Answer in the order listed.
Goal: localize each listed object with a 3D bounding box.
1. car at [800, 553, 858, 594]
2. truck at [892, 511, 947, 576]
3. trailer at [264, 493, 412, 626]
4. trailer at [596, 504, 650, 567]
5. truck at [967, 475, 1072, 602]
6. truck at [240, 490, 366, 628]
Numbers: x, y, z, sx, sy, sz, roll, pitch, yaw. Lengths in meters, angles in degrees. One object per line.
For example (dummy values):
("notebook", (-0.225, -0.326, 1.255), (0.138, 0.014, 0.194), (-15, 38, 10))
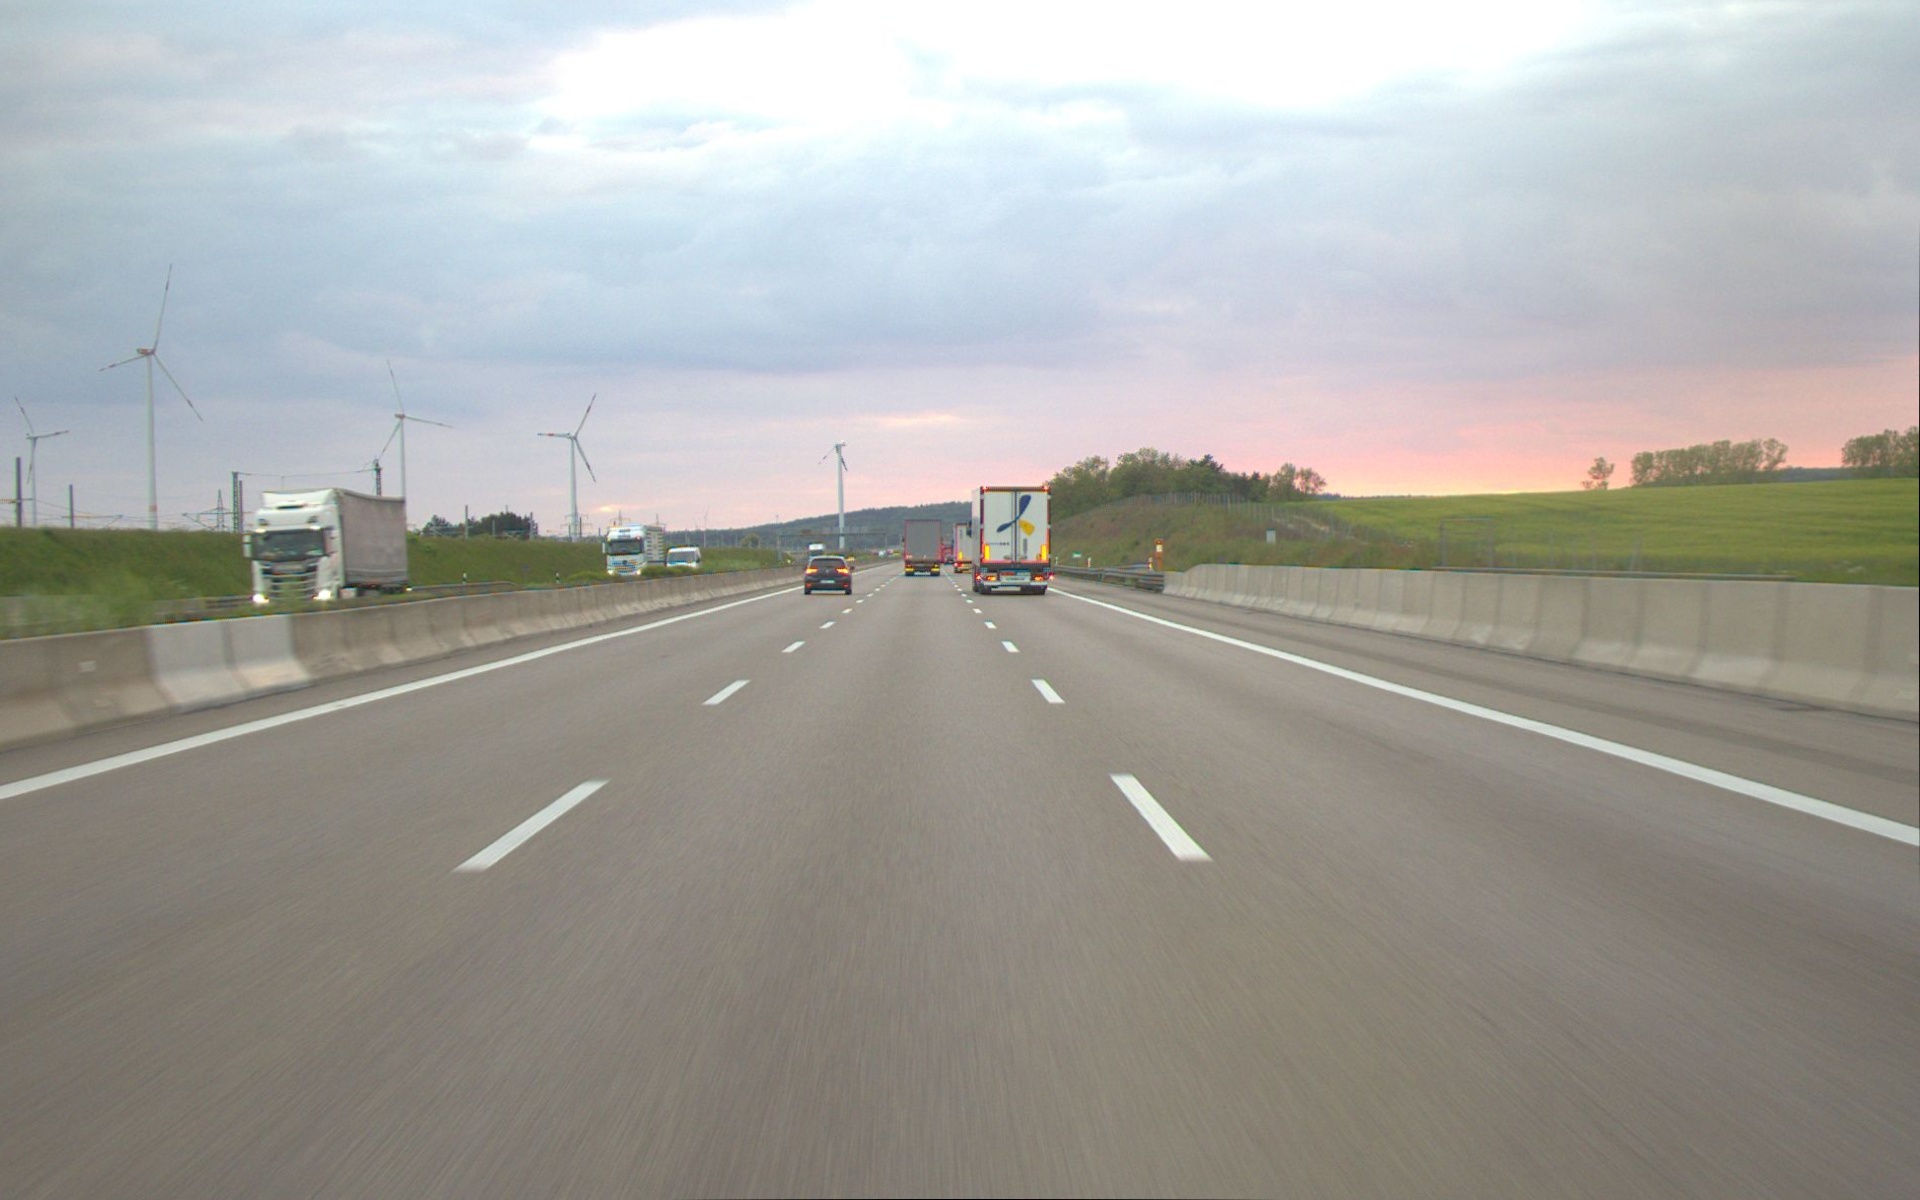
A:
("car", (-4.874, -1.018, 128.526), (1.987, 1.425, 4.000), (-1, 1, 0))
("truck", (-2.854, -3.942, 241.840), (3.647, 4.399, 8.636), (-1, 1, -1))
("trailer", (-21.322, -1.440, 118.589), (2.817, 4.337, 12.839), (0, 1, 0))
("trailer", (-22.683, -4.326, 231.631), (2.686, 4.100, 6.939), (-3, 1, 1))
("truck", (2.180, -2.353, 130.858), (3.675, 4.549, 10.982), (-1, 1, 0))
("truck", (-21.252, -1.347, 111.451), (2.817, 4.337, 6.739), (0, 1, 0))
